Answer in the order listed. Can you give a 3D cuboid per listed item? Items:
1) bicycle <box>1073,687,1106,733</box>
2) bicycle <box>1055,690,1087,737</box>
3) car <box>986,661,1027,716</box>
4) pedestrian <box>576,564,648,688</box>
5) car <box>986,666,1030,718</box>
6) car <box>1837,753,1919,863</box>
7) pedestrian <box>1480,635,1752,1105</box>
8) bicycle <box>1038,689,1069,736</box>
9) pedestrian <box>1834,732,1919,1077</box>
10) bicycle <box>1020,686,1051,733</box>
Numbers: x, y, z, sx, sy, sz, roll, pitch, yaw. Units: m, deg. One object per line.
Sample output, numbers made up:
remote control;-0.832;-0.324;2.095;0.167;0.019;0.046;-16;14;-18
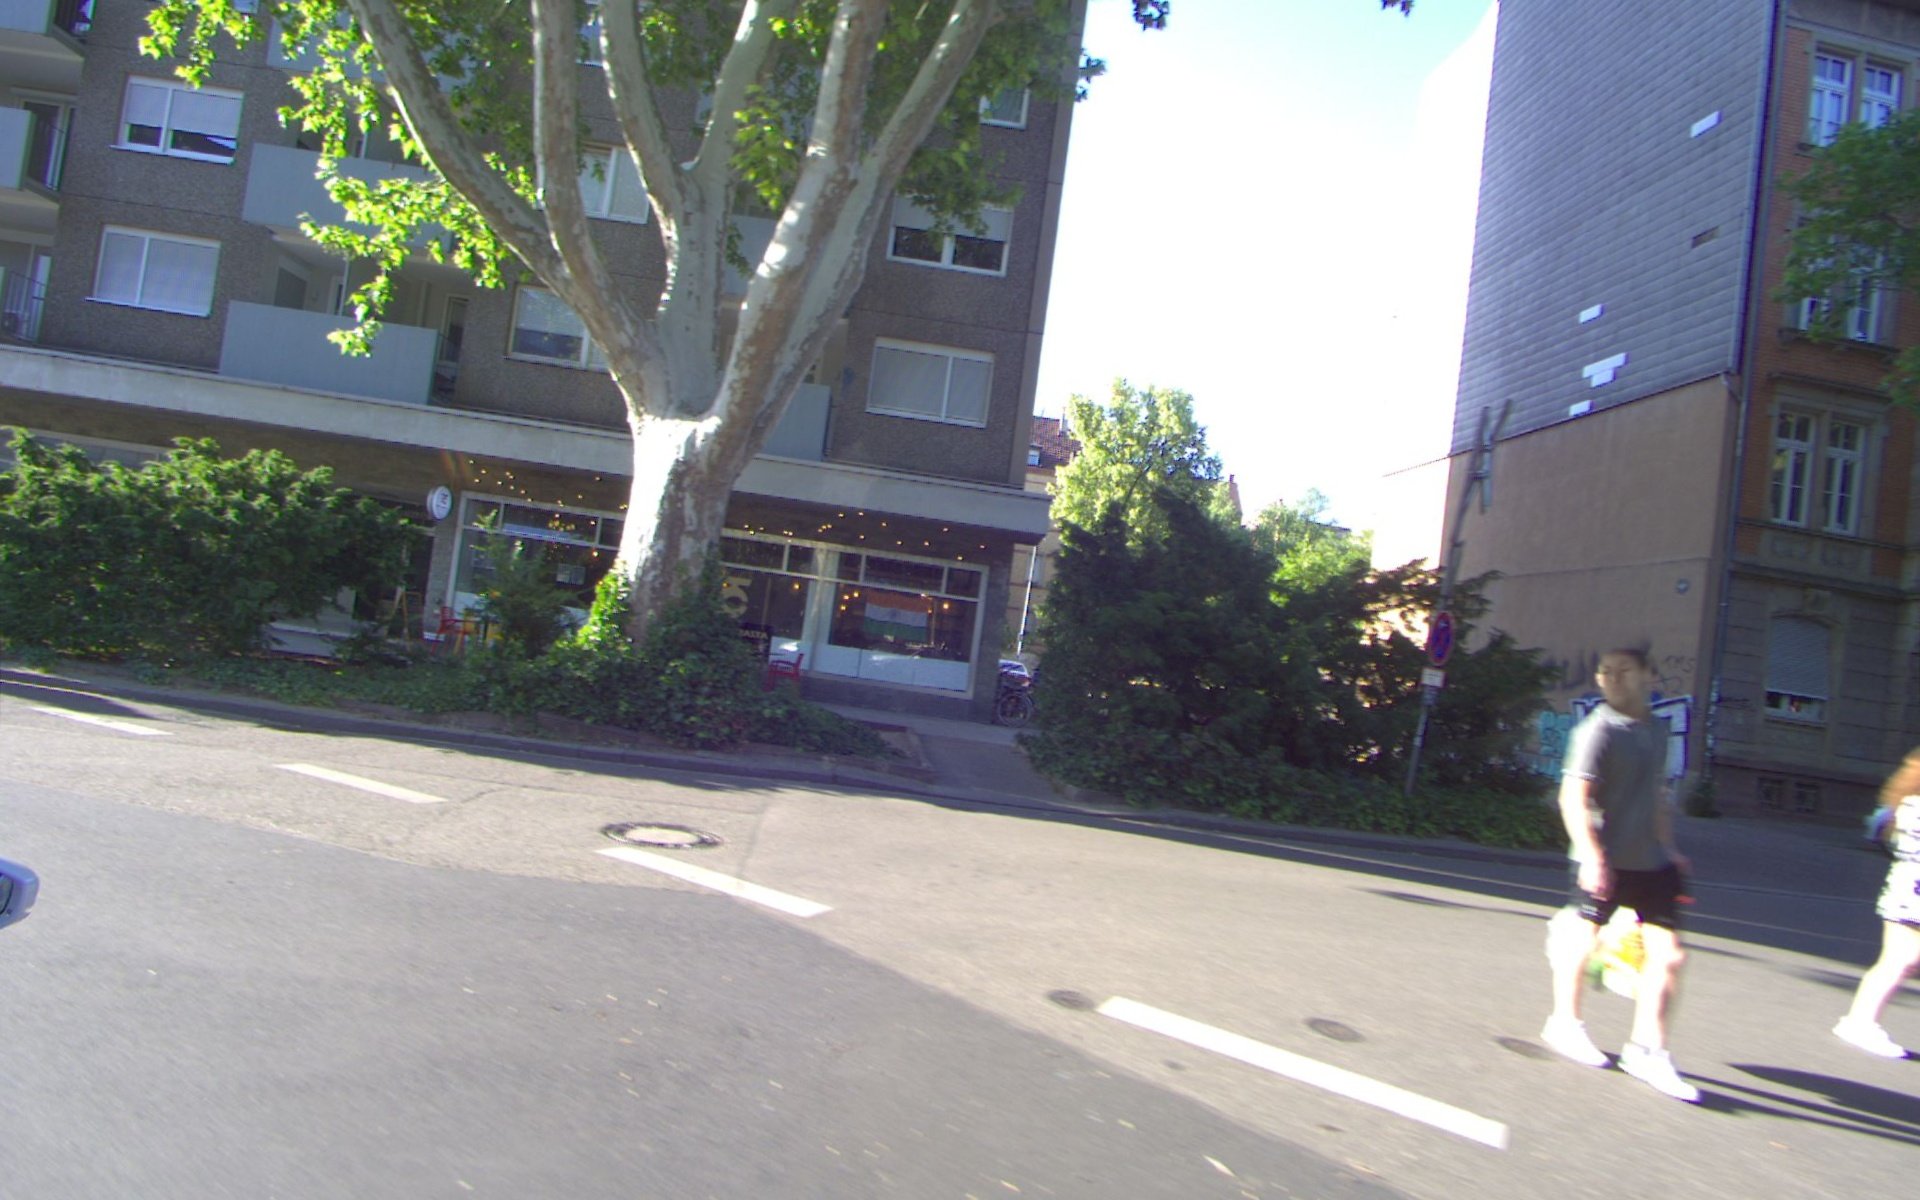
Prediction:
bicycle;2.336;1.985;18.248;0.268;0.749;0.895;7;-2;-9
bicycle;2.004;2.052;18.200;0.268;0.749;0.895;7;-2;-9
car;1.093;2.012;23.168;0.730;1.106;1.982;7;-2;5
pedestrian;-5.329;0.404;15.444;0.624;1.794;0.687;7;-1;3
car;0.954;1.823;19.834;0.338;0.947;0.958;6;-3;33
car;15.511;3.344;14.507;1.706;1.490;3.992;8;-1;-11
pedestrian;2.951;1.122;4.515;0.810;1.802;0.707;8;-2;-44
bicycle;1.682;2.023;18.158;0.268;0.749;0.895;7;-2;-9
pedestrian;5.046;1.551;5.130;0.810;1.626;0.707;9;-2;-44
bicycle;1.357;1.965;18.095;0.268;0.749;0.895;7;-2;-9
